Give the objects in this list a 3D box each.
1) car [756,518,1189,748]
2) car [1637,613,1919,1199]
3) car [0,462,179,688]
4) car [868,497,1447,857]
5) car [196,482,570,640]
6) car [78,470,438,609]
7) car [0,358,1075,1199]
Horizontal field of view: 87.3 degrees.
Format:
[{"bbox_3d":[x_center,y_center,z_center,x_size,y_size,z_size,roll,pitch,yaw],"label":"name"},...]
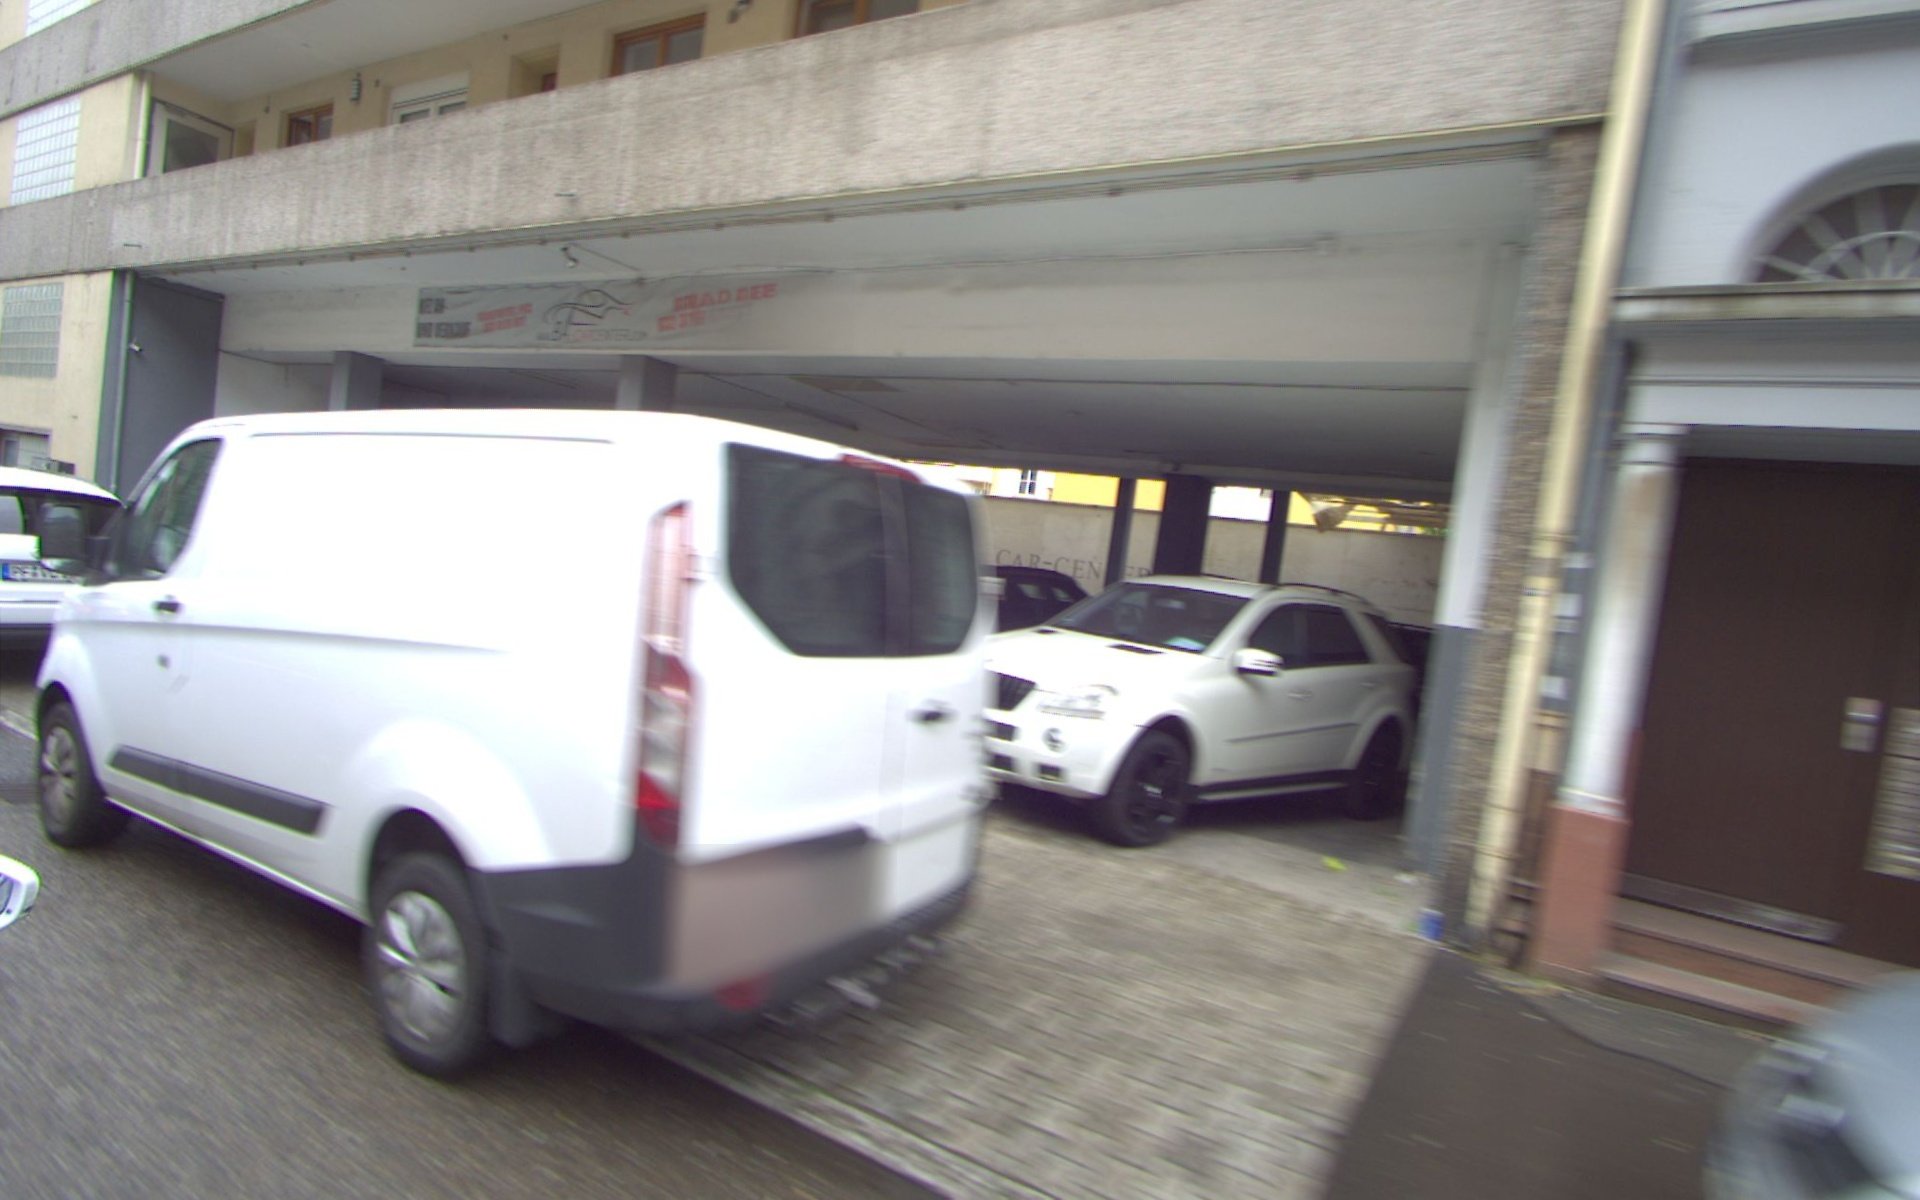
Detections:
[{"bbox_3d":[0.261,0.375,9.790,3.971,1.736,1.693,6,2,-42],"label":"car"},{"bbox_3d":[3.387,1.067,1.035,4.240,1.619,1.727,7,2,32],"label":"car"},{"bbox_3d":[-8.700,-0.383,8.623,4.202,1.662,1.747,7,2,31],"label":"car"},{"bbox_3d":[1.731,0.550,7.869,4.428,2.039,1.978,5,0,-40],"label":"car"},{"bbox_3d":[-7.521,-0.469,13.284,4.001,1.663,1.792,4,4,-40],"label":"car"},{"bbox_3d":[-10.416,-0.808,15.363,1.764,1.677,4.240,7,2,17],"label":"car"},{"bbox_3d":[-2.154,0.228,4.438,4.743,1.982,1.989,7,2,32],"label":"car"}]
